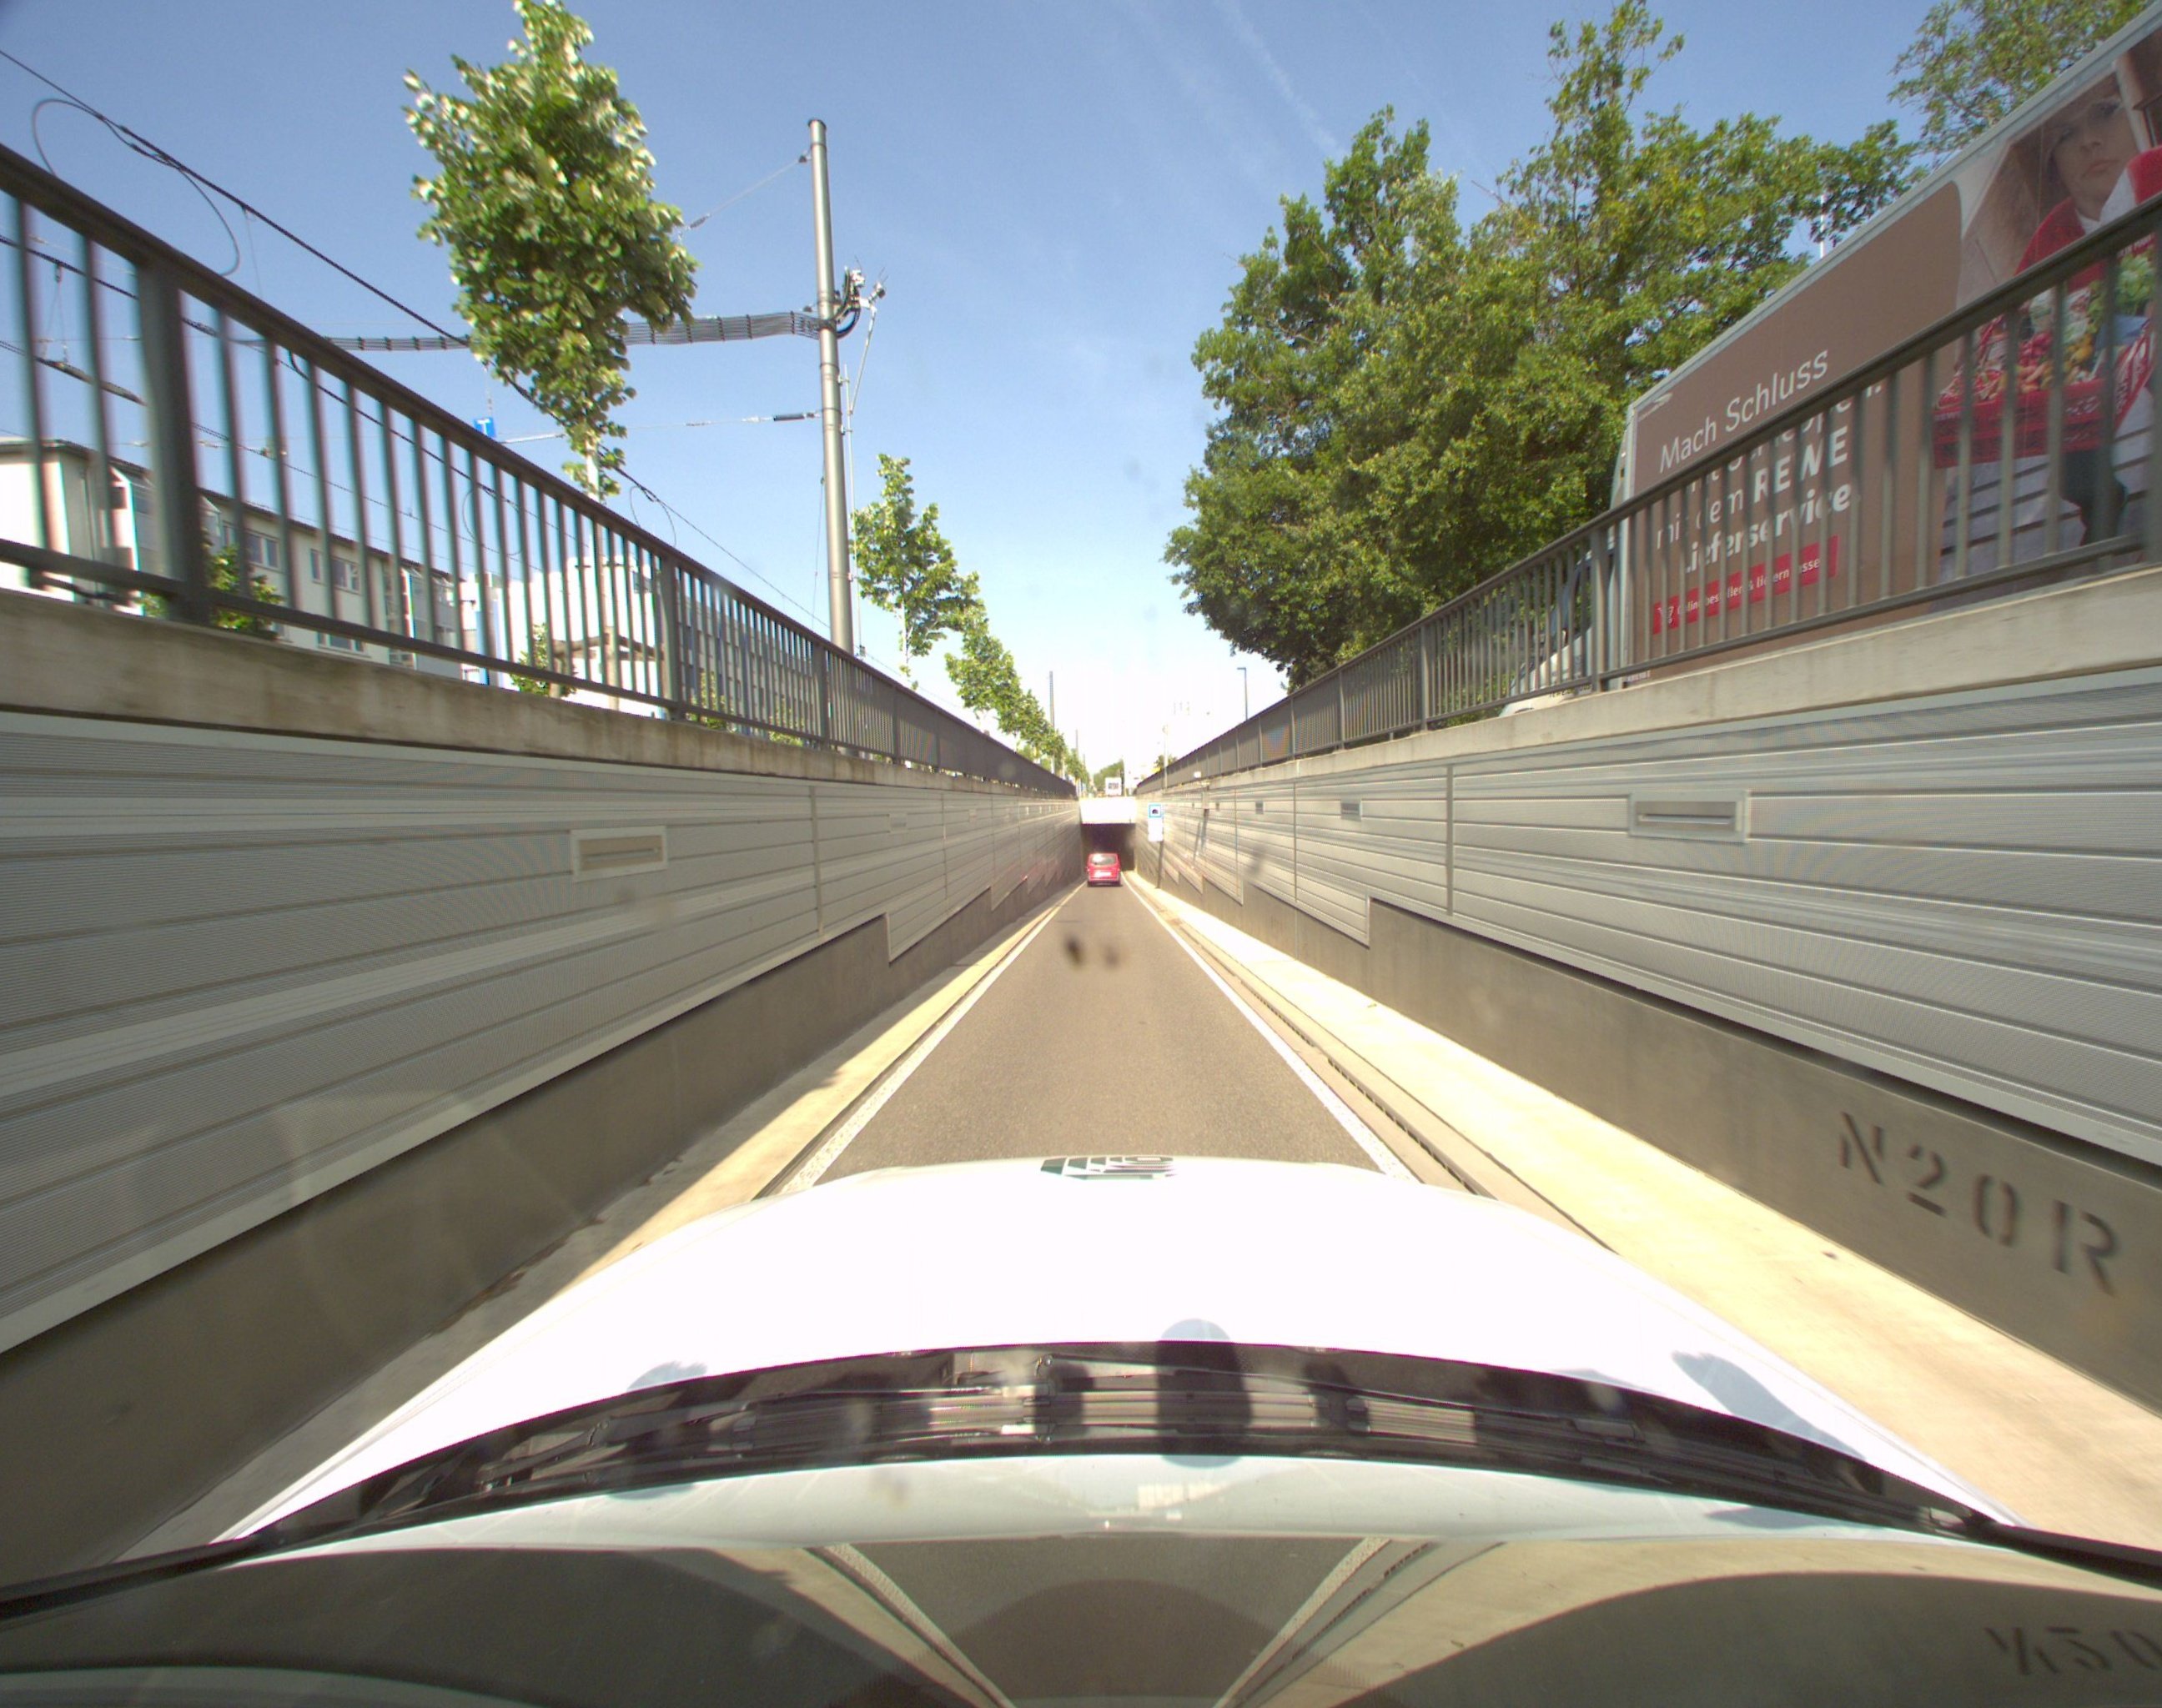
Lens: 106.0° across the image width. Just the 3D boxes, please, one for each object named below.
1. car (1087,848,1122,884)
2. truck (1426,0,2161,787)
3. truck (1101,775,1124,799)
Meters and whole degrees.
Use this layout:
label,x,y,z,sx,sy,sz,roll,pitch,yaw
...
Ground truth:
label,x,y,z,sx,sy,sz,roll,pitch,yaw
car,1.351,0.650,46.315,1.894,1.859,4.002,0,2,1
truck,5.235,-2.115,5.823,2.492,3.059,7.828,0,3,2
truck,5.399,-11.514,140.439,3.381,3.725,10.452,-2,4,-1
